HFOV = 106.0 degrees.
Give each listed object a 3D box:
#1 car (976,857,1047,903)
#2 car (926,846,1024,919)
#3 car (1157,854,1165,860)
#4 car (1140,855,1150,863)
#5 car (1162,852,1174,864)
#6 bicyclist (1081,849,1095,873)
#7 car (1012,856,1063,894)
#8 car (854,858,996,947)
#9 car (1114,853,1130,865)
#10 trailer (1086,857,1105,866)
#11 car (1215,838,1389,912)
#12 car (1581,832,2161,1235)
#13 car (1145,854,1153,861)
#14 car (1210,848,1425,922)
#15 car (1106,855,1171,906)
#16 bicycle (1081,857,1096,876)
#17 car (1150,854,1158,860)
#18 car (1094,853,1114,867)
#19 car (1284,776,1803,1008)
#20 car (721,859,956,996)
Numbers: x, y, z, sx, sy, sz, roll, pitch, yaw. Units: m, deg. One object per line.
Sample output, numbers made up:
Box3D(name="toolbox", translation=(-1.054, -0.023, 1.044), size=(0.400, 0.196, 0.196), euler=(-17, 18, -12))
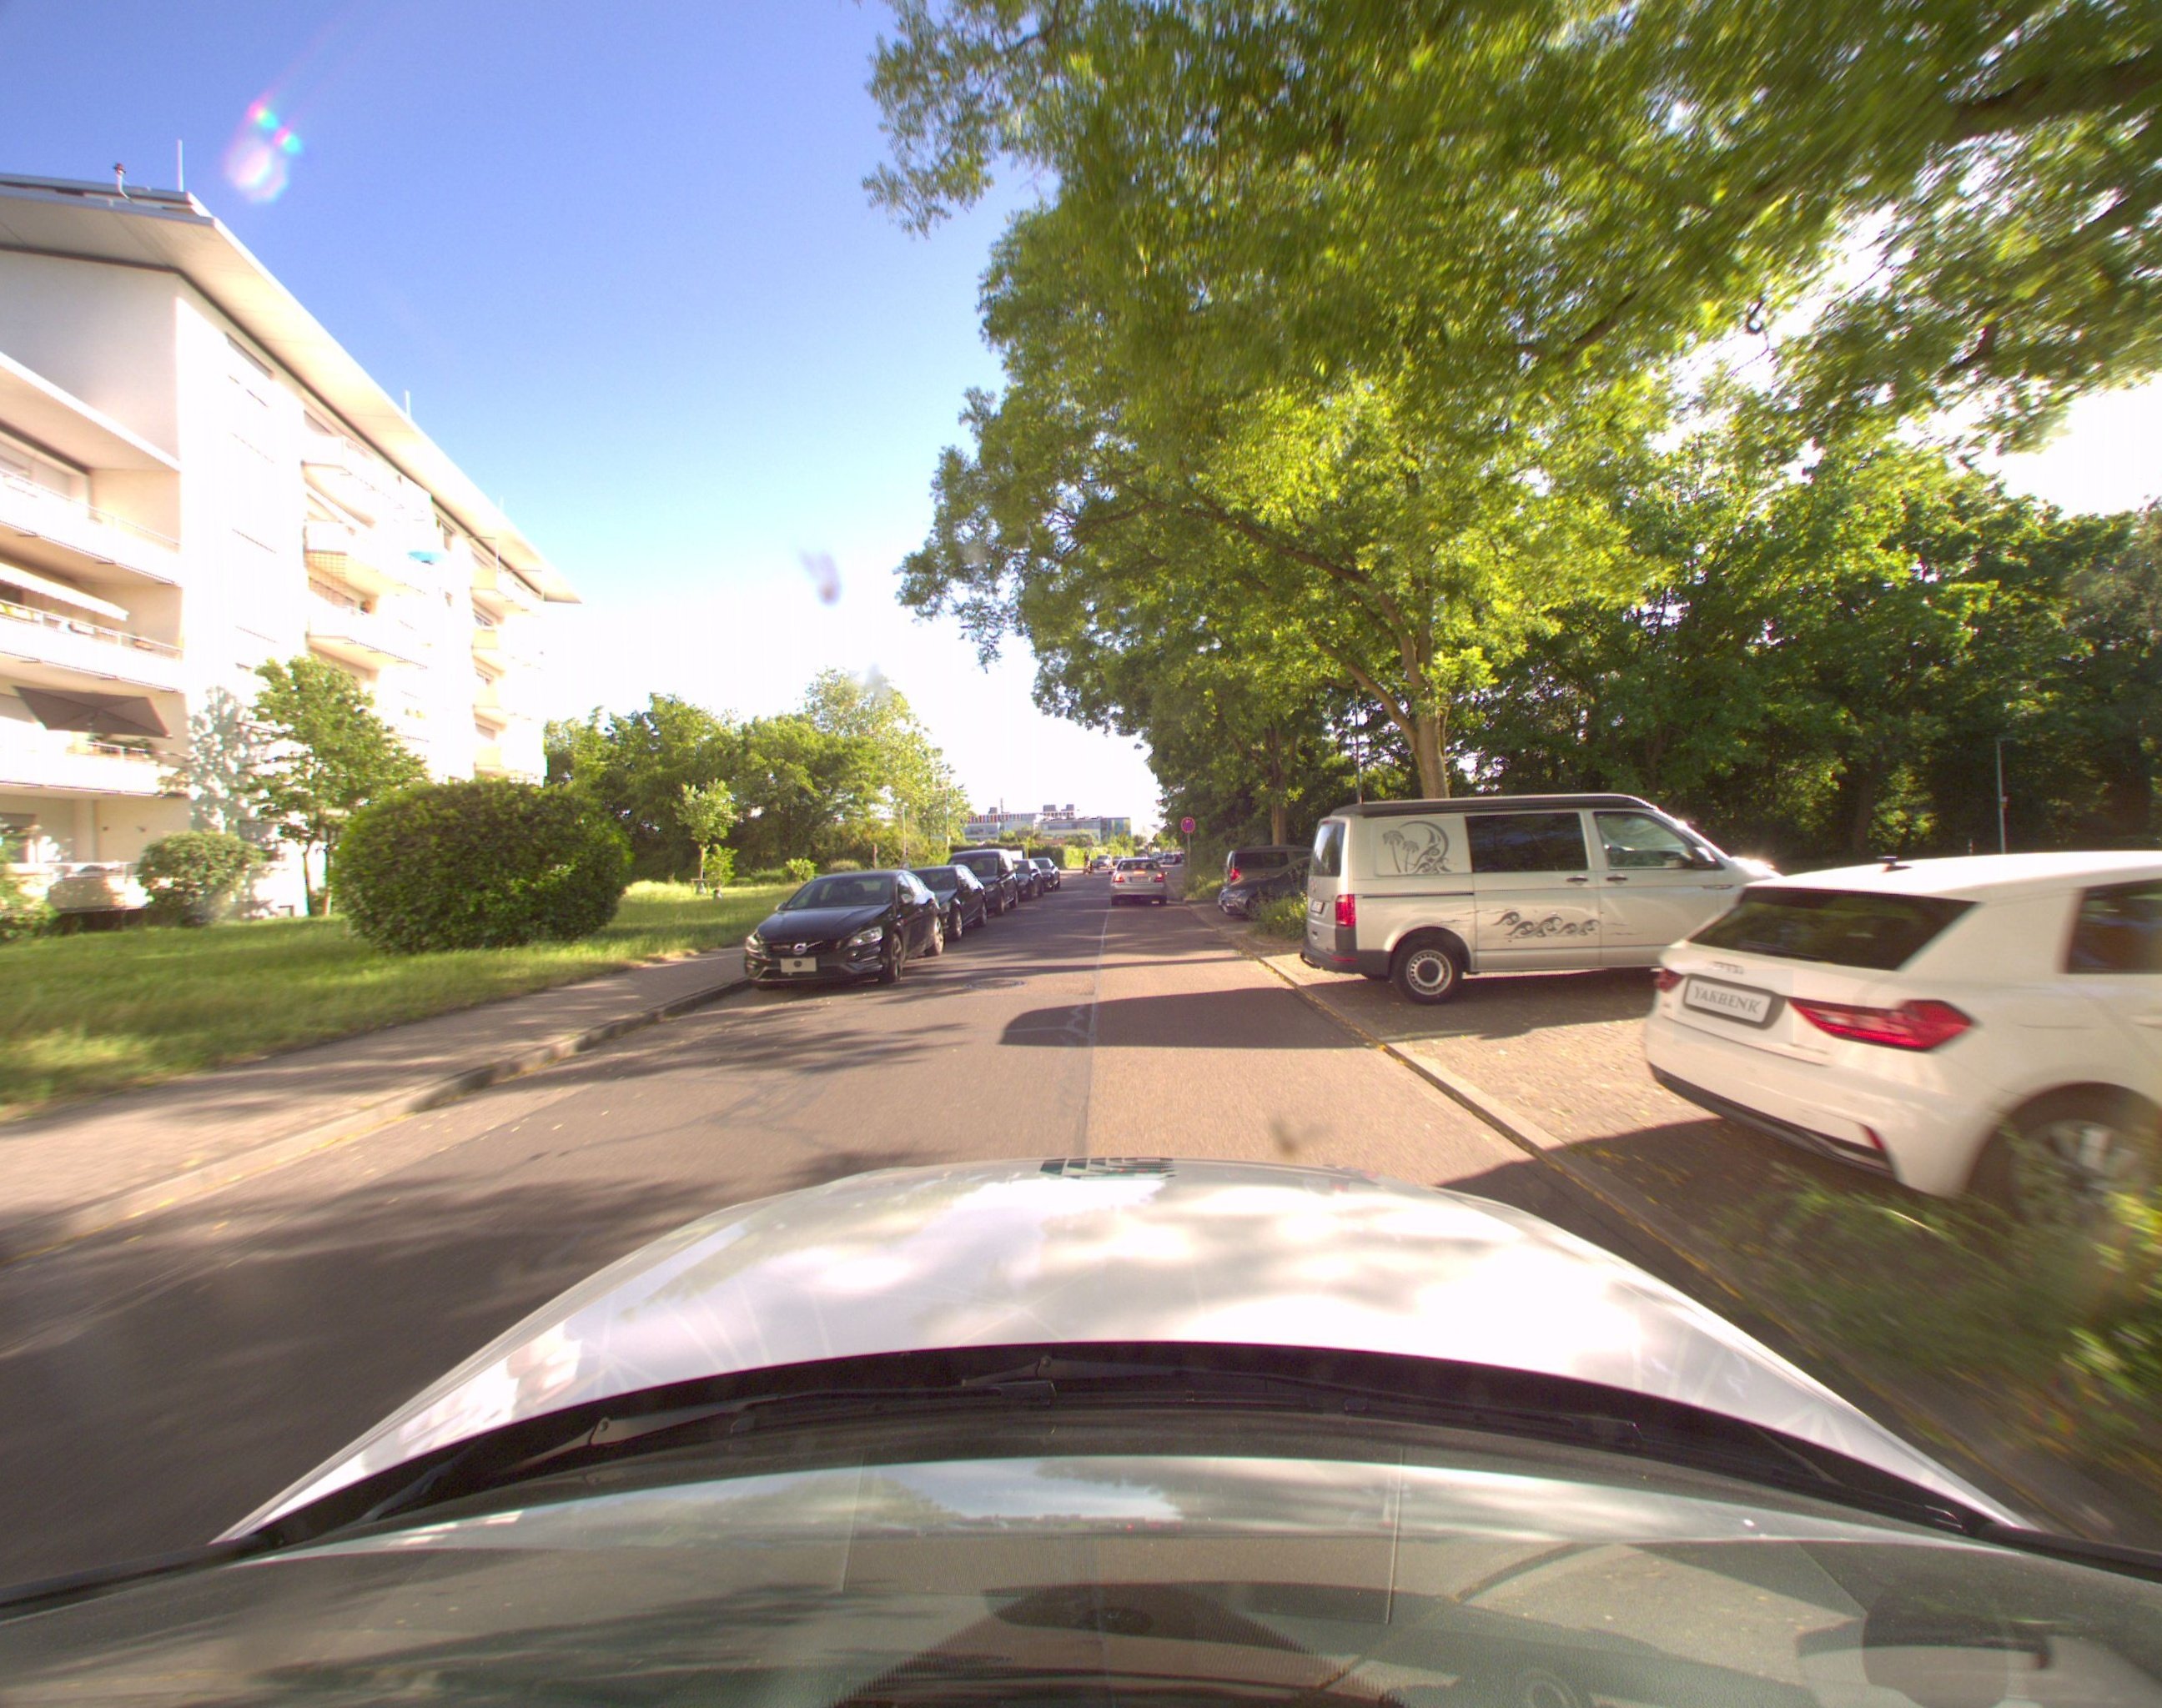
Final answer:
Box3D(name="car", translation=(-2.474, 0.900, 30.043), size=(1.831, 1.454, 4.024), euler=(-3, 0, 5))
Box3D(name="car", translation=(-2.921, 0.746, 23.584), size=(1.832, 1.780, 4.892), euler=(-3, 0, 3))
Box3D(name="car", translation=(21.983, 0.828, 223.323), size=(1.844, 1.428, 4.144), euler=(0, 0, 8))
Box3D(name="car", translation=(12.541, 0.920, 159.102), size=(1.551, 1.495, 3.579), euler=(-2, 0, 8))
Box3D(name="car", translation=(11.945, 0.560, 111.749), size=(1.547, 1.538, 3.564), euler=(0, 0, 9))
Box3D(name="bicyclist", translation=(0.514, 0.500, 59.047), size=(0.841, 1.658, 1.066), euler=(-2, 0, 4))
Box3D(name="car", translation=(-1.863, 0.882, 36.381), size=(1.720, 1.463, 4.686), euler=(-3, 1, 3))
Box3D(name="car", translation=(-3.118, 0.909, 17.293), size=(1.833, 1.481, 4.577), euler=(-5, 0, 2))
Box3D(name="car", translation=(5.674, 0.706, 112.626), size=(1.634, 1.556, 4.428), euler=(-2, 0, 8))
Box3D(name="trailer", translation=(1.545, 0.801, 84.872), size=(1.534, 0.953, 2.655), euler=(0, 0, 11))
Box3D(name="car", translation=(5.738, 0.535, 21.540), size=(4.129, 1.695, 1.777), euler=(-3, 0, 5))
Box3D(name="car", translation=(4.813, 0.656, 3.785), size=(3.888, 1.435, 1.639), euler=(-3, 0, 5))
Box3D(name="car", translation=(14.806, 0.738, 177.143), size=(1.551, 1.495, 3.579), euler=(1, 0, 8))
Box3D(name="car", translation=(5.351, 0.687, 18.841), size=(4.434, 1.414, 1.776), euler=(-3, 0, 2))
Box3D(name="car", translation=(1.740, 0.780, 25.637), size=(1.732, 1.453, 3.999), euler=(-1, 0, -1))
Box3D(name="bicycle", translation=(0.570, 0.888, 59.479), size=(0.847, 1.370, 3.224), euler=(-2, 0, 5))
Box3D(name="car", translation=(17.413, 0.680, 194.030), size=(1.551, 1.495, 3.767), euler=(-2, 0, 8))
Box3D(name="car", translation=(2.725, 0.662, 95.058), size=(1.633, 1.600, 4.324), euler=(-1, 0, 10))
Box3D(name="car", translation=(4.689, 0.380, 8.891), size=(4.432, 2.016, 2.023), euler=(-3, 0, 3))
Box3D(name="car", translation=(-3.203, 0.877, 11.907), size=(1.833, 1.481, 4.802), euler=(-3, 0, 1))
